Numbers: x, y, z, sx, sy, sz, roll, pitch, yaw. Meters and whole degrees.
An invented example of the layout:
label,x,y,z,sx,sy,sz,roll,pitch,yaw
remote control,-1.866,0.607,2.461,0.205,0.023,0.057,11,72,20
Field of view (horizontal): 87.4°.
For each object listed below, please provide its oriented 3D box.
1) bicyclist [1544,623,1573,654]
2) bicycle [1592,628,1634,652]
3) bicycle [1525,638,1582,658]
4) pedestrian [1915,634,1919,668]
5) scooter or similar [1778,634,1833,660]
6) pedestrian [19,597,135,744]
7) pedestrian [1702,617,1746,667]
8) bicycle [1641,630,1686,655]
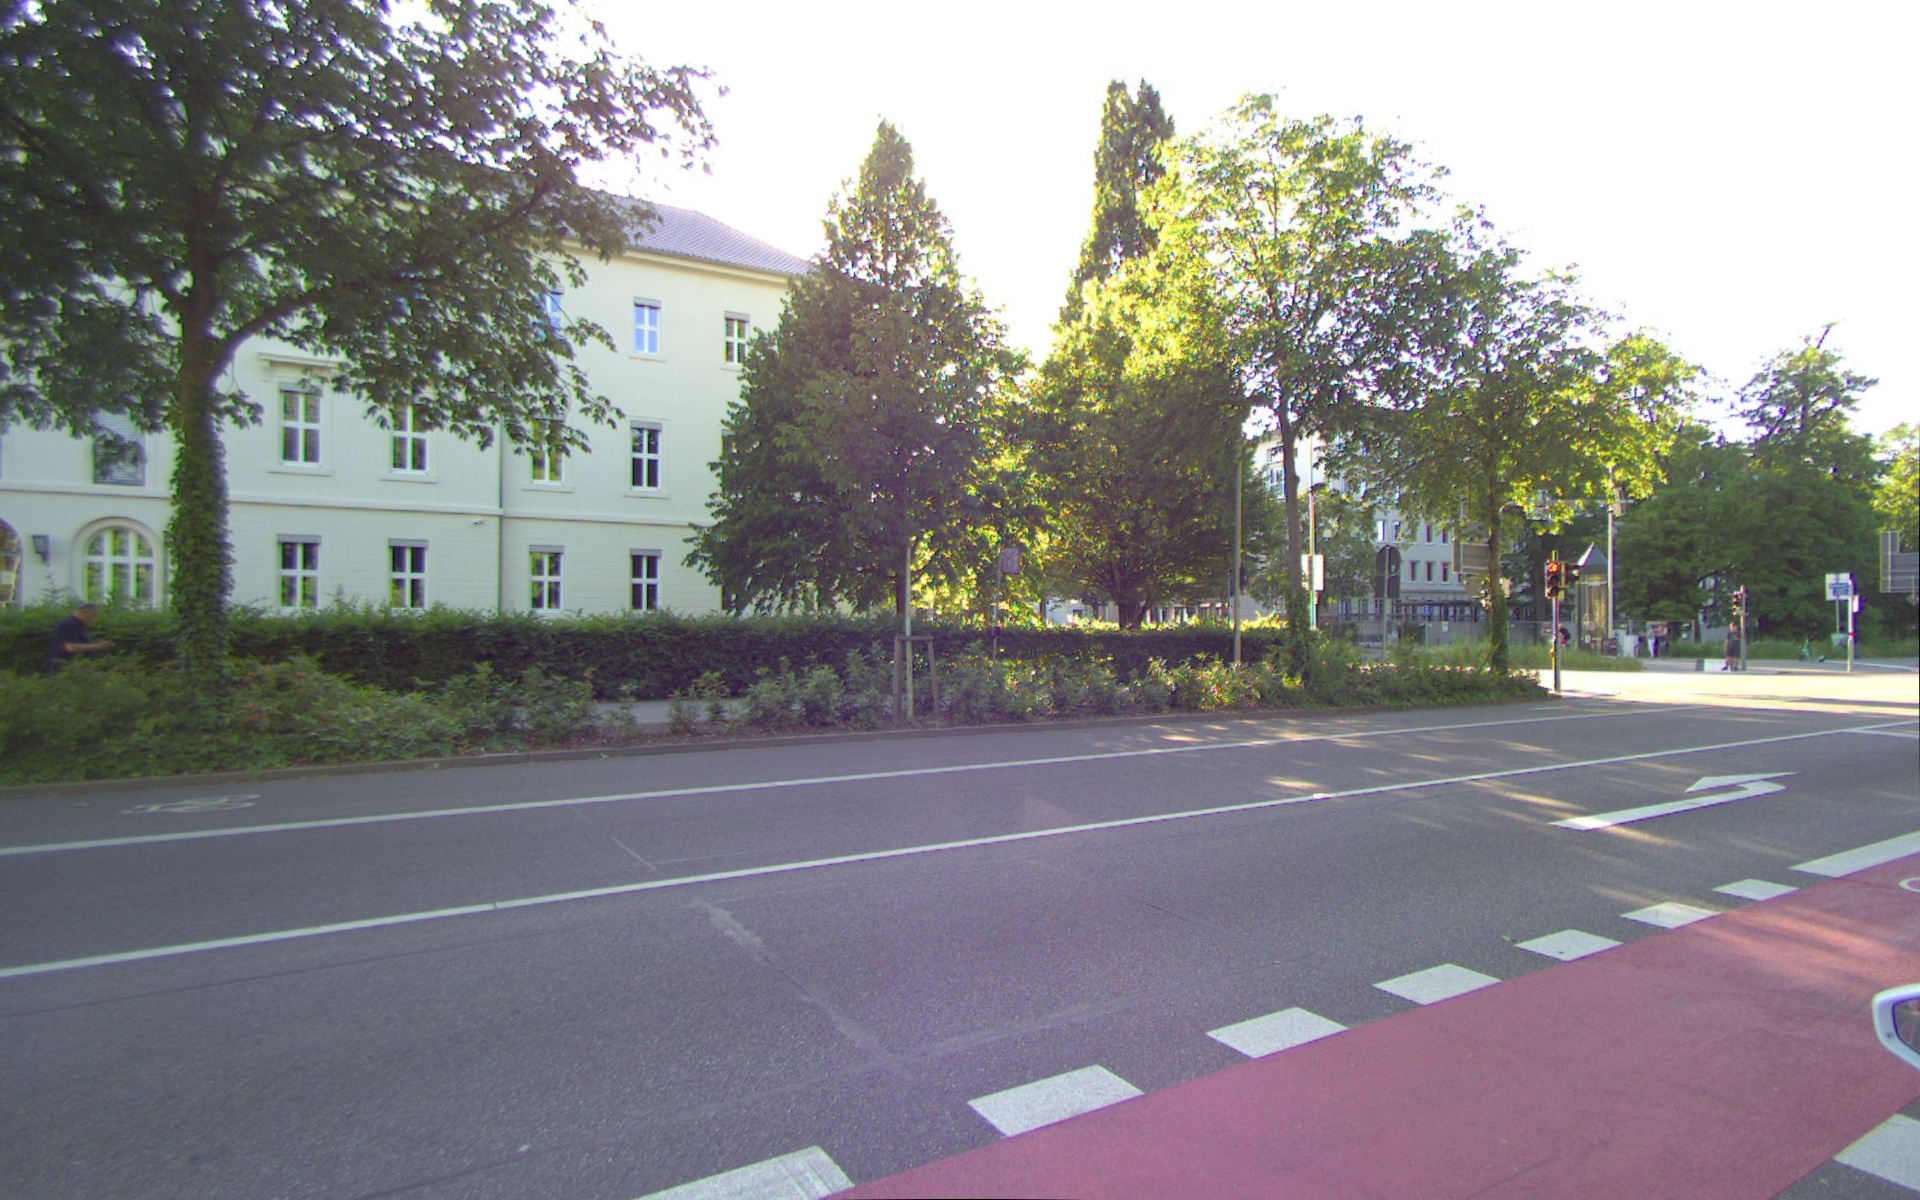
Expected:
label,x,y,z,sx,sy,sz,roll,pitch,yaw
bicyclist,31.519,2.012,52.912,0.867,1.627,0.970,1,-2,-29
bicycle,33.939,2.074,52.205,0.437,1.163,1.854,1,-1,-28
bicycle,31.383,2.528,53.155,0.574,1.002,2.694,1,-2,-29
pedestrian,47.173,2.479,48.694,0.992,1.624,1.080,1,-2,-36
scooter or similar,39.182,2.183,46.565,1.882,1.139,0.713,1,0,3
pedestrian,-10.994,0.859,12.548,0.958,1.743,0.829,1,-2,-34
pedestrian,31.796,1.747,41.815,1.175,2.040,0.992,1,0,-25
bicycle,34.959,2.103,49.949,0.288,1.163,1.849,1,-1,-36
